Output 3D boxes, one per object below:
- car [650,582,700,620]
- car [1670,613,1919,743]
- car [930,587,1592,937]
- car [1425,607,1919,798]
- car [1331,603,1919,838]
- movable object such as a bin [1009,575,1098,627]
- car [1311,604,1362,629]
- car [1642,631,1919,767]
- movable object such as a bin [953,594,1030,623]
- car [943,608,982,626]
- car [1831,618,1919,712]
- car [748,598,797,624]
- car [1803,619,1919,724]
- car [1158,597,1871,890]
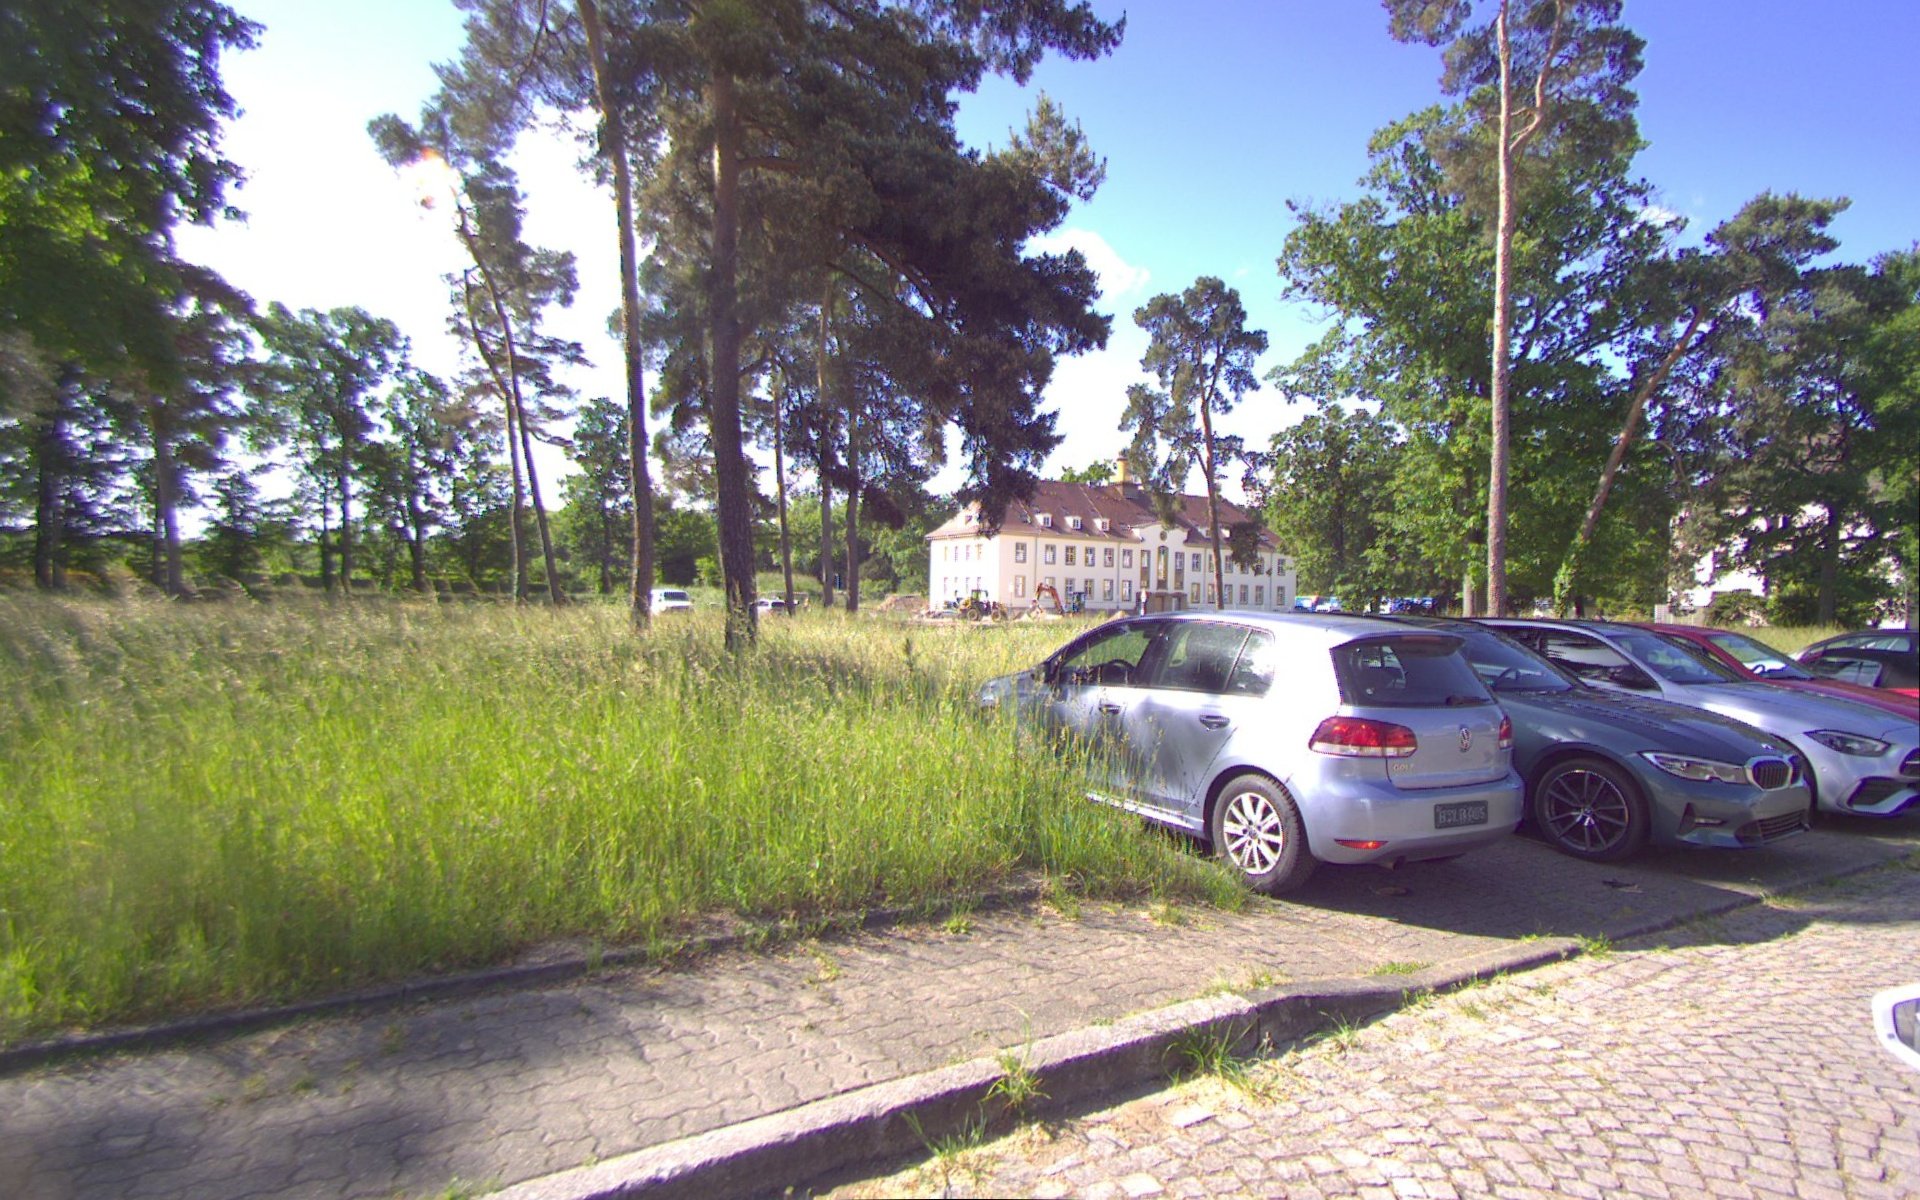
[{"bbox_3d":[-17.768,0.061,62.447,1.933,2.193,4.824,1,0,-29],"label":"car"},{"bbox_3d":[12.240,1.033,13.453,1.800,1.471,4.058,2,1,-29],"label":"car"},{"bbox_3d":[1.637,0.730,6.788,1.927,1.503,4.004,1,2,-32],"label":"car"},{"bbox_3d":[7.928,0.919,11.081,1.915,1.440,4.841,2,1,-30],"label":"car"},{"bbox_3d":[6.161,0.875,9.506,1.916,1.440,4.841,2,1,-30],"label":"car"},{"bbox_3d":[7.170,0.101,76.489,3.866,3.781,6.769,1,-1,35],"label":"movable object such as a bin"},{"bbox_3d":[38.439,1.684,102.567,5.214,2.469,1.975,2,0,-30],"label":"car"},{"bbox_3d":[10.281,1.104,11.560,1.739,1.250,3.614,2,1,-29],"label":"car"},{"bbox_3d":[2.523,0.670,79.739,5.565,2.154,2.530,1,0,16],"label":"movable object such as a bin"},{"bbox_3d":[0.226,1.820,109.654,1.981,1.879,4.085,2,-1,-43],"label":"car"},{"bbox_3d":[17.167,1.150,16.317,1.802,1.495,4.175,1,1,-30],"label":"car"},{"bbox_3d":[-12.365,0.677,65.987,1.889,1.626,4.210,1,-1,-29],"label":"car"},{"bbox_3d":[14.997,1.105,14.374,1.899,1.444,4.058,1,1,-29],"label":"car"},{"bbox_3d":[3.931,0.815,7.993,1.964,1.471,4.553,2,1,-33],"label":"car"}]
